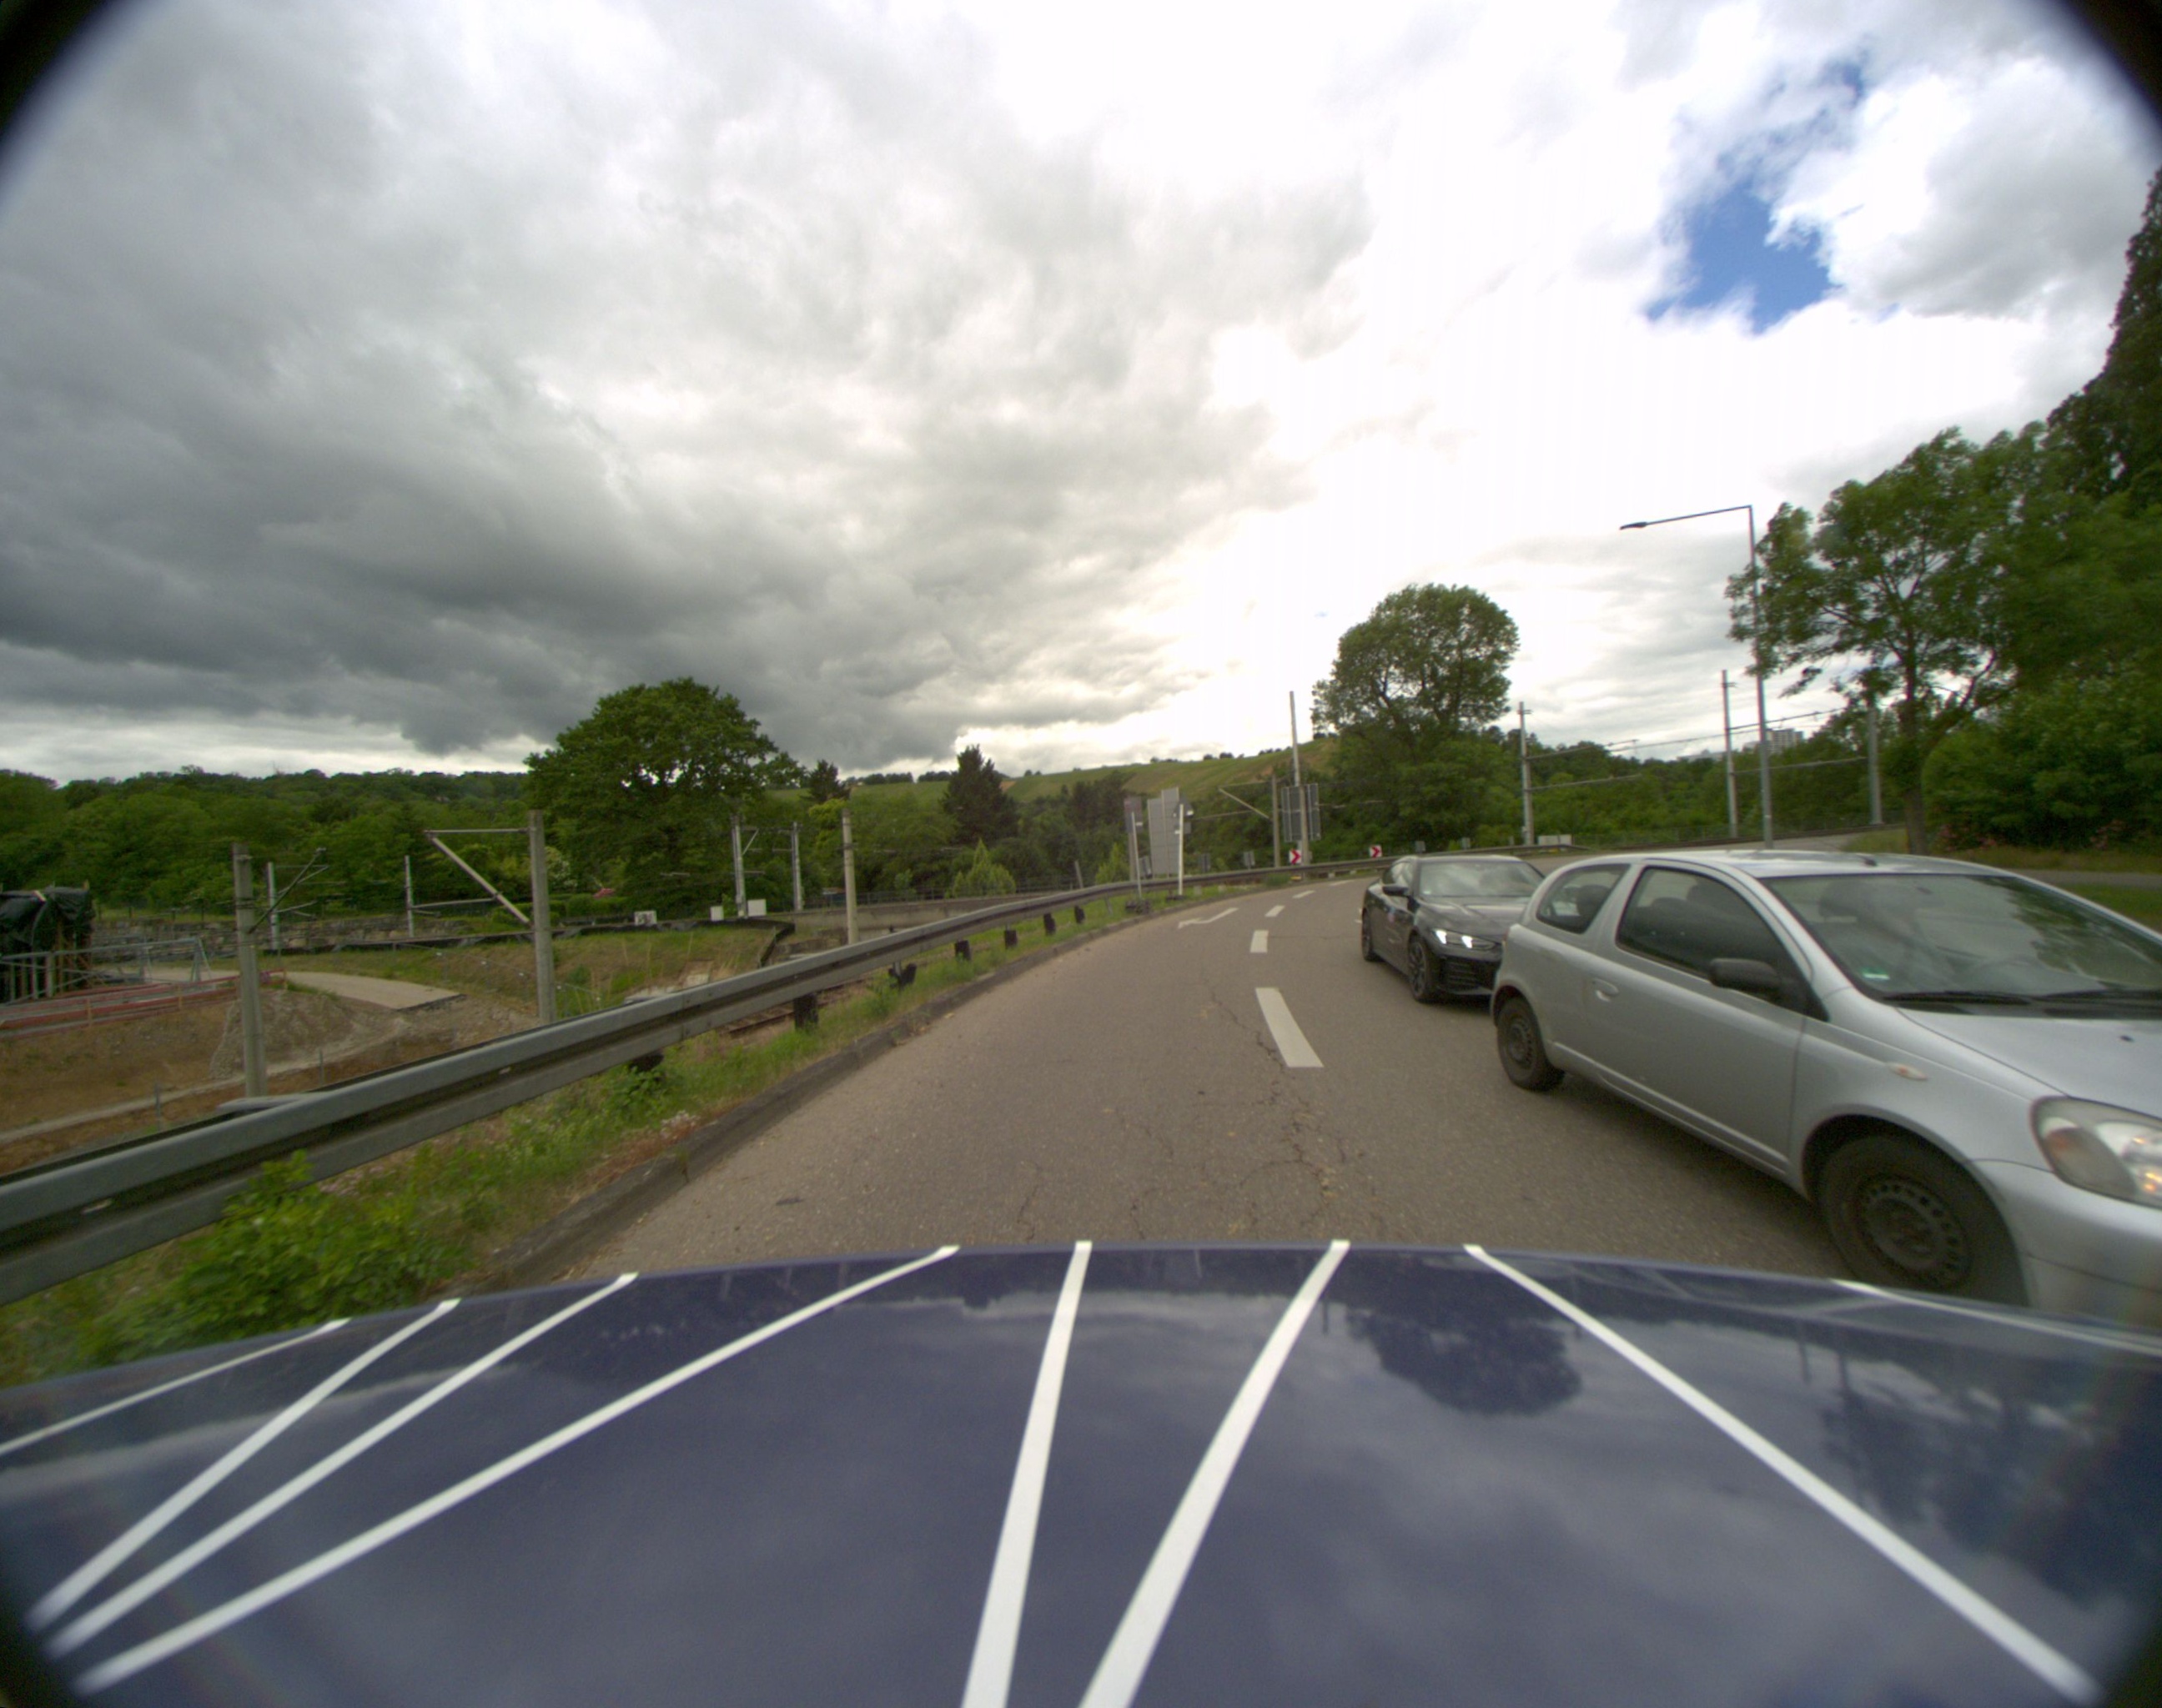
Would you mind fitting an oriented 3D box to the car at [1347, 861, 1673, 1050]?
[{"bbox_3d":[4.445,0.871,8.862,1.876,1.468,4.968,-1,0,12],"label":"car"}]

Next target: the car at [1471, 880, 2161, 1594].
[{"bbox_3d":[3.404,0.938,3.336,1.672,1.461,3.629,-2,0,4],"label":"car"}]
